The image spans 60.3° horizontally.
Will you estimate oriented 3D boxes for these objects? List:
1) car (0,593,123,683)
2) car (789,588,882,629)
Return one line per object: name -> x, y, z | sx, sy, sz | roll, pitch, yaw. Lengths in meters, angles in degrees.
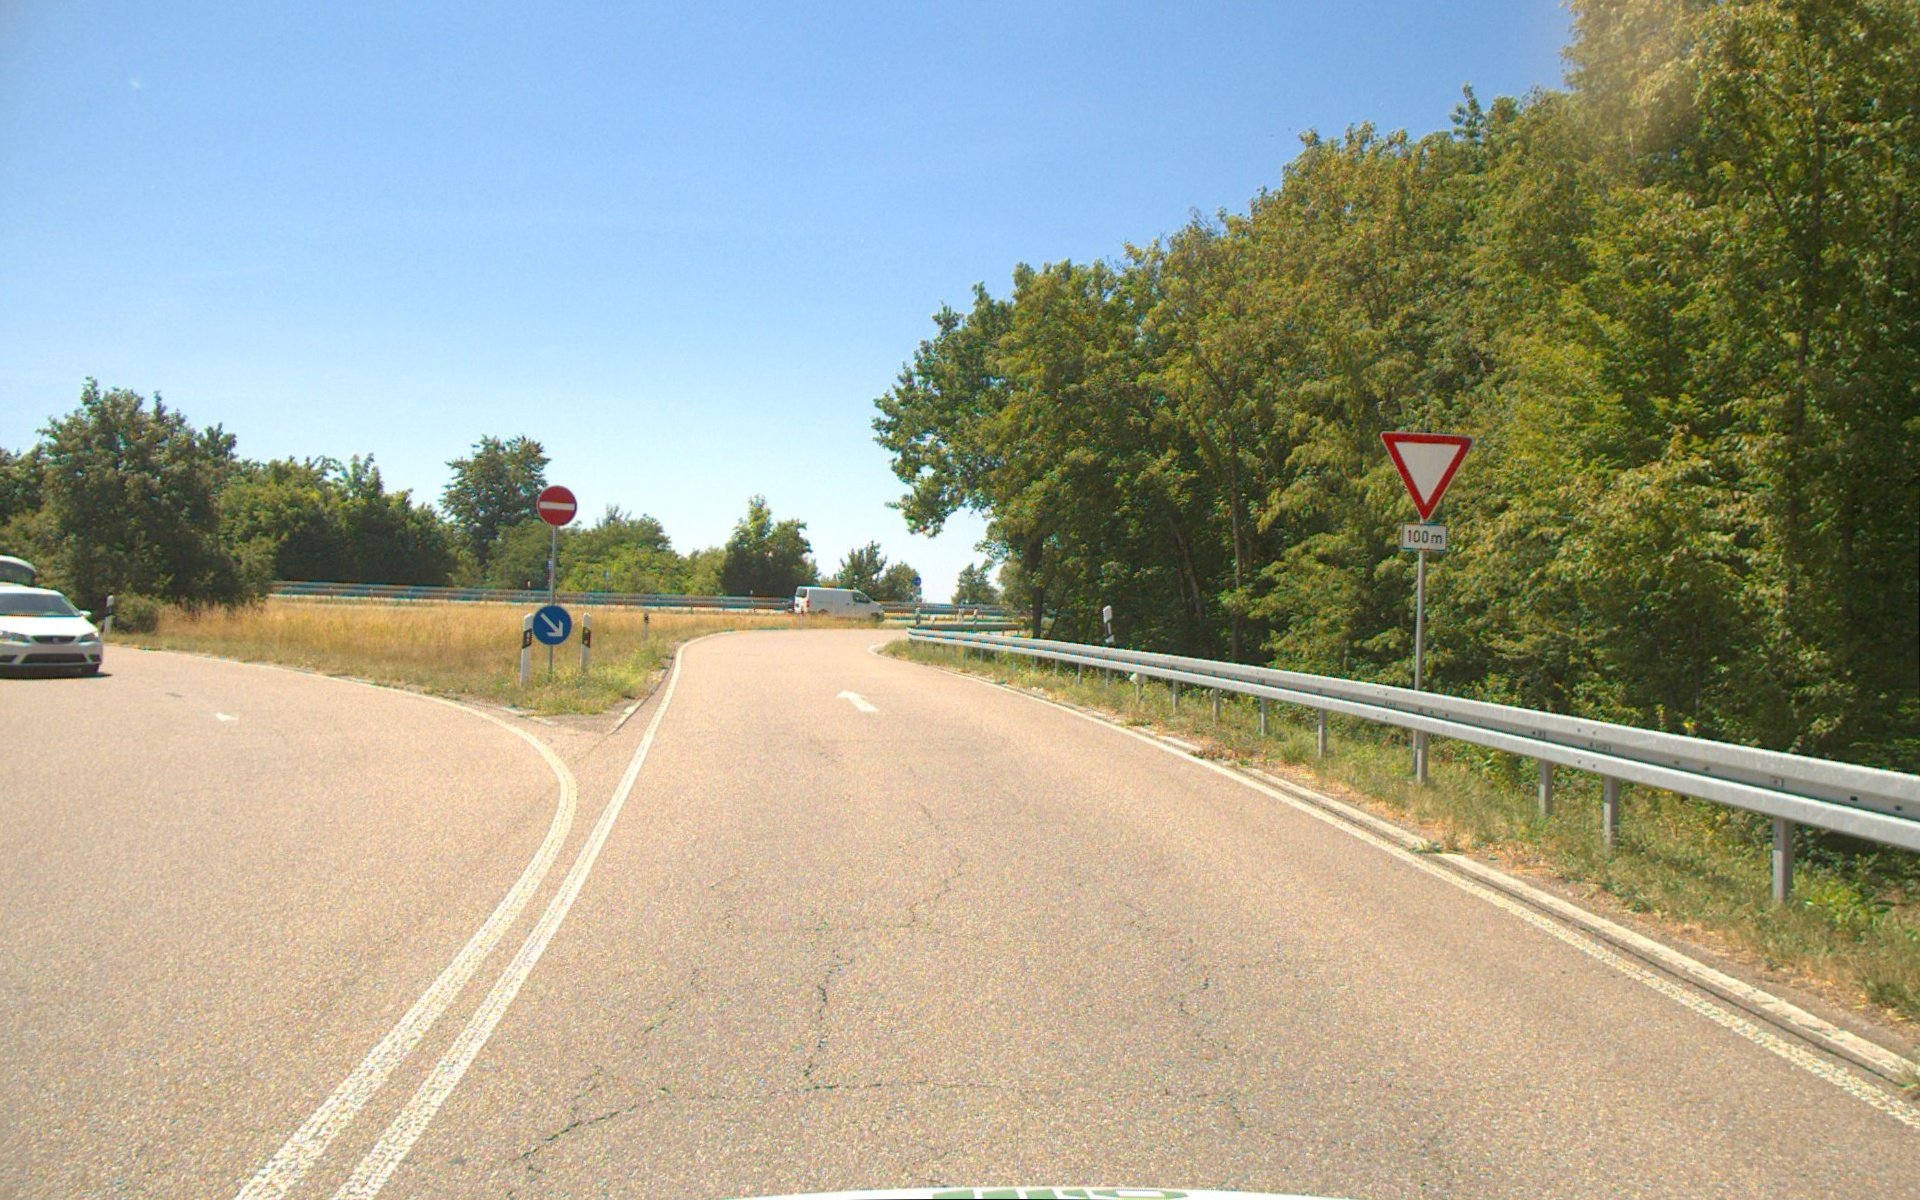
car -> -16.303, 0.604, 28.842 | 4.077, 1.449, 1.840 | 0, 1, 44
car -> -6.932, 0.506, 92.423 | 4.756, 1.961, 1.979 | 4, -3, -32
